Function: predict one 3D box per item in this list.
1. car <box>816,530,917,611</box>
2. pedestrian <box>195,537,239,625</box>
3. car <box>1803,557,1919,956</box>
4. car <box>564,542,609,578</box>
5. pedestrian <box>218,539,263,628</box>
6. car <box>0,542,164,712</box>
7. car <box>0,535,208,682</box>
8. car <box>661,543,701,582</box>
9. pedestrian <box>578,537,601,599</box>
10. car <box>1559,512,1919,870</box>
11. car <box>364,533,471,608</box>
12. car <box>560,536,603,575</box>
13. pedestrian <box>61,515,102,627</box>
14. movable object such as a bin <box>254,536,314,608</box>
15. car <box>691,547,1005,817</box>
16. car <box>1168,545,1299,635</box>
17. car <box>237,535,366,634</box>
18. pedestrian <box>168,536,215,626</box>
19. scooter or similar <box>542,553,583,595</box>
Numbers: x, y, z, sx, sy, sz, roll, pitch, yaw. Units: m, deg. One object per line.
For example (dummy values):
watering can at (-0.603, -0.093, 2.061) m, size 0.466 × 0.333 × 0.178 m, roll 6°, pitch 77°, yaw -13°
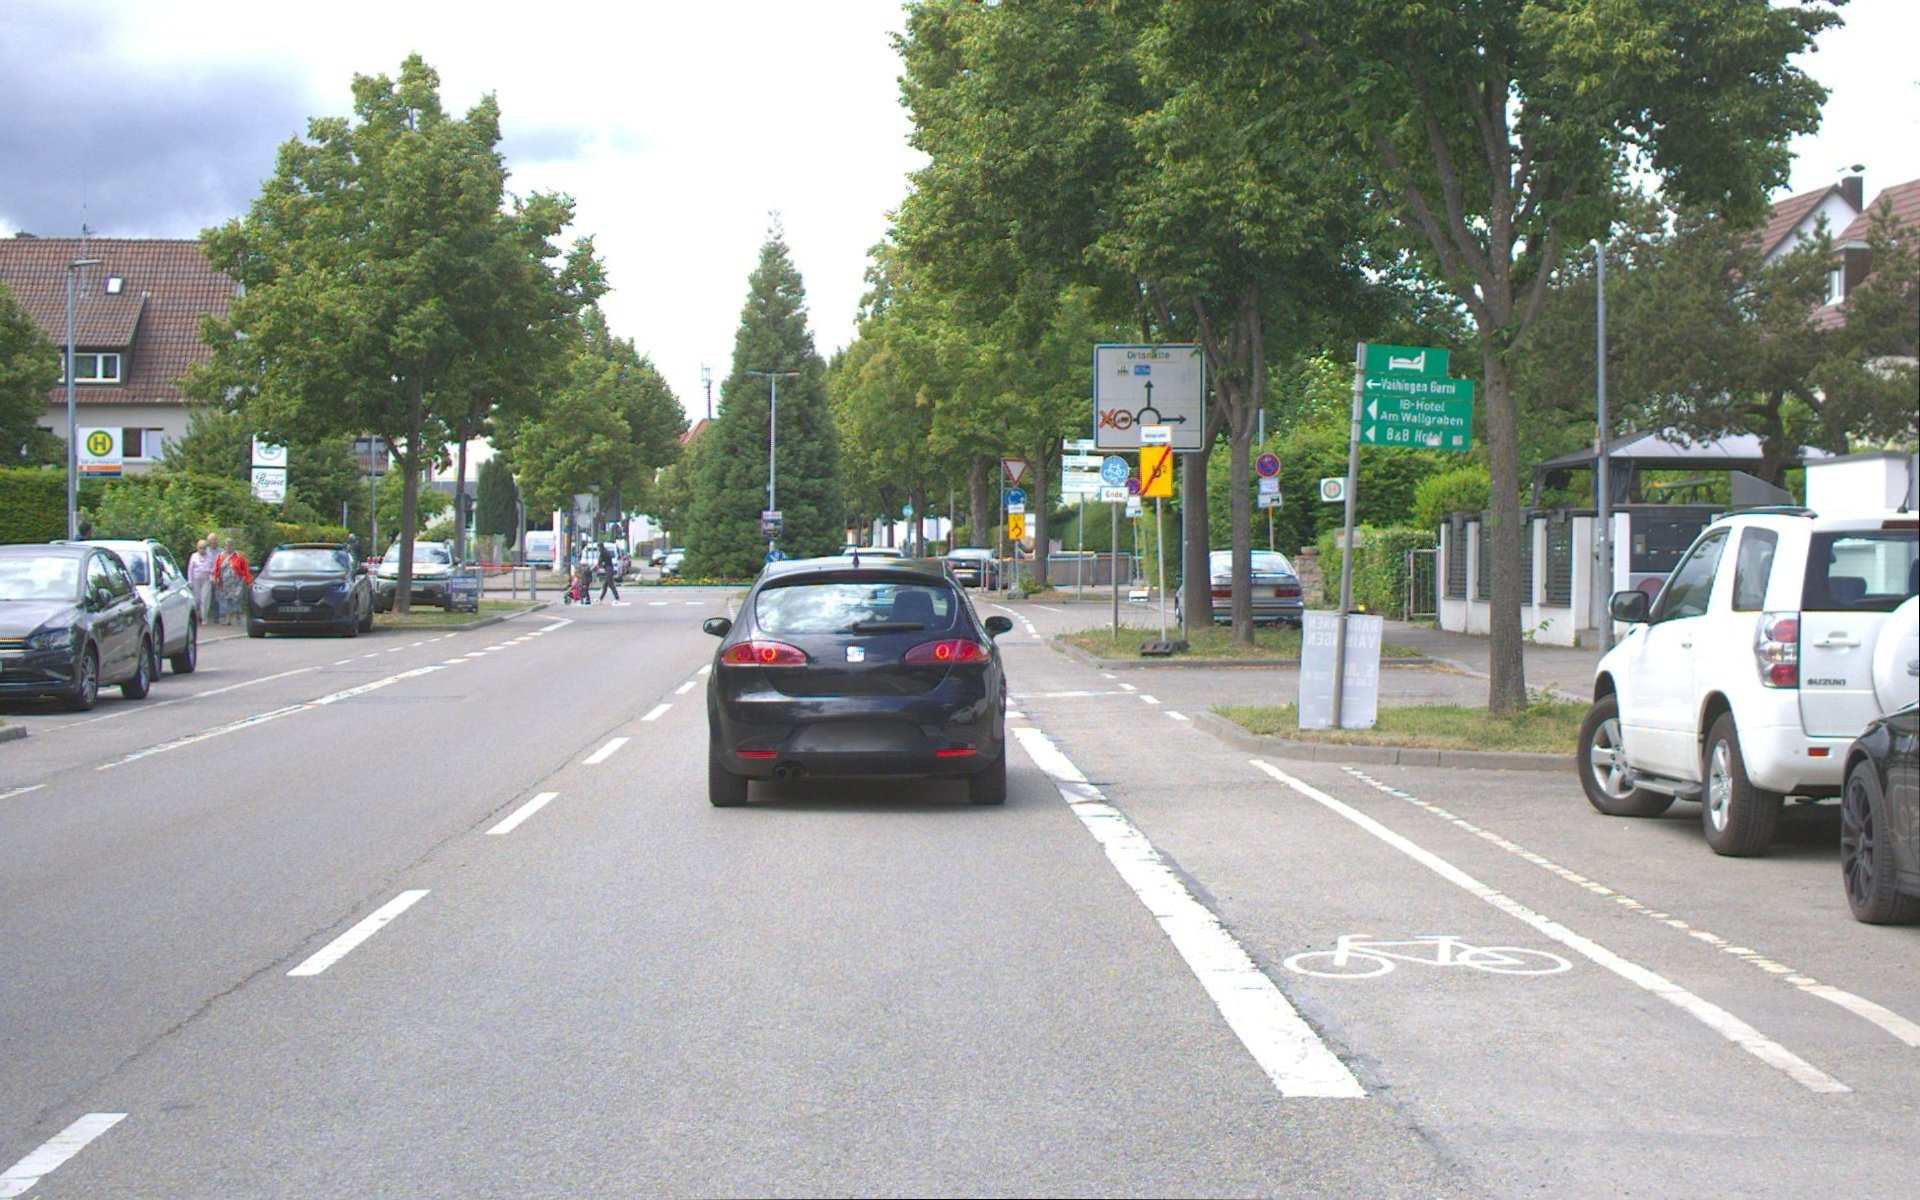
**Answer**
car at (-1.899, -0.627, 70.716) m, size 1.993 × 1.607 × 4.000 m, roll 0°, pitch 1°, yaw -1°
pedestrian at (-14.132, -0.362, 65.405) m, size 0.786 × 1.658 × 0.592 m, roll 0°, pitch 1°, yaw -9°
car at (4.364, 0.583, 11.760) m, size 1.863 × 1.412 × 4.602 m, roll 0°, pitch 1°, yaw 1°
car at (-16.907, -1.811, 155.938) m, size 1.797 × 1.596 × 4.001 m, roll -1°, pitch 1°, yaw -3°
pedestrian at (-13.501, -0.320, 64.533) m, size 0.786 × 1.658 × 0.754 m, roll 0°, pitch 1°, yaw -9°
car at (-8.972, 0.214, 33.477) m, size 1.677 × 1.546 × 4.273 m, roll 0°, pitch 1°, yaw -3°
car at (-10.154, 0.052, 40.737) m, size 1.820 × 1.628 × 4.587 m, roll -1°, pitch 1°, yaw -5°
car at (-11.758, -1.591, 144.853) m, size 1.568 × 1.628 × 3.622 m, roll 0°, pitch 1°, yaw -3°
pedestrian at (-10.067, -0.876, 93.406) m, size 0.514 × 1.664 × 0.483 m, roll 0°, pitch 1°, yaw -25°
car at (4.481, 0.395, 17.819) m, size 1.900 × 1.637 × 4.117 m, roll 0°, pitch 1°, yaw -2°
car at (-12.381, -0.691, 78.616) m, size 1.860 × 1.648 × 4.295 m, roll 0°, pitch 1°, yaw -1°
car at (-19.163, -2.255, 174.021) m, size 2.029 × 1.964 × 4.001 m, roll -1°, pitch 1°, yaw -5°
pedestrian at (-14.262, -0.473, 55.831) m, size 0.503 × 1.800 × 0.671 m, roll 0°, pitch 1°, yaw -2°
movable object such as a bin at (-15.942, -0.670, 81.101) m, size 1.205 × 1.645 × 0.998 m, roll 2°, pitch 0°, yaw -4°
car at (-0.604, 0.427, 21.143) m, size 1.732 × 1.481 × 4.000 m, roll 1°, pitch 1°, yaw 1°
car at (4.317, -0.136, 54.719) m, size 1.611 × 1.372 × 4.387 m, roll 0°, pitch 0°, yaw -2°
car at (-11.832, -0.302, 61.993) m, size 1.724 × 1.719 × 4.566 m, roll 0°, pitch 1°, yaw -4°
pedestrian at (-14.333, -0.365, 64.122) m, size 0.786 × 1.658 × 0.882 m, roll 0°, pitch 1°, yaw -9°
scooter or similar at (-10.762, -0.701, 93.073) m, size 0.966 × 1.092 × 0.407 m, roll 2°, pitch 0°, yaw -30°
